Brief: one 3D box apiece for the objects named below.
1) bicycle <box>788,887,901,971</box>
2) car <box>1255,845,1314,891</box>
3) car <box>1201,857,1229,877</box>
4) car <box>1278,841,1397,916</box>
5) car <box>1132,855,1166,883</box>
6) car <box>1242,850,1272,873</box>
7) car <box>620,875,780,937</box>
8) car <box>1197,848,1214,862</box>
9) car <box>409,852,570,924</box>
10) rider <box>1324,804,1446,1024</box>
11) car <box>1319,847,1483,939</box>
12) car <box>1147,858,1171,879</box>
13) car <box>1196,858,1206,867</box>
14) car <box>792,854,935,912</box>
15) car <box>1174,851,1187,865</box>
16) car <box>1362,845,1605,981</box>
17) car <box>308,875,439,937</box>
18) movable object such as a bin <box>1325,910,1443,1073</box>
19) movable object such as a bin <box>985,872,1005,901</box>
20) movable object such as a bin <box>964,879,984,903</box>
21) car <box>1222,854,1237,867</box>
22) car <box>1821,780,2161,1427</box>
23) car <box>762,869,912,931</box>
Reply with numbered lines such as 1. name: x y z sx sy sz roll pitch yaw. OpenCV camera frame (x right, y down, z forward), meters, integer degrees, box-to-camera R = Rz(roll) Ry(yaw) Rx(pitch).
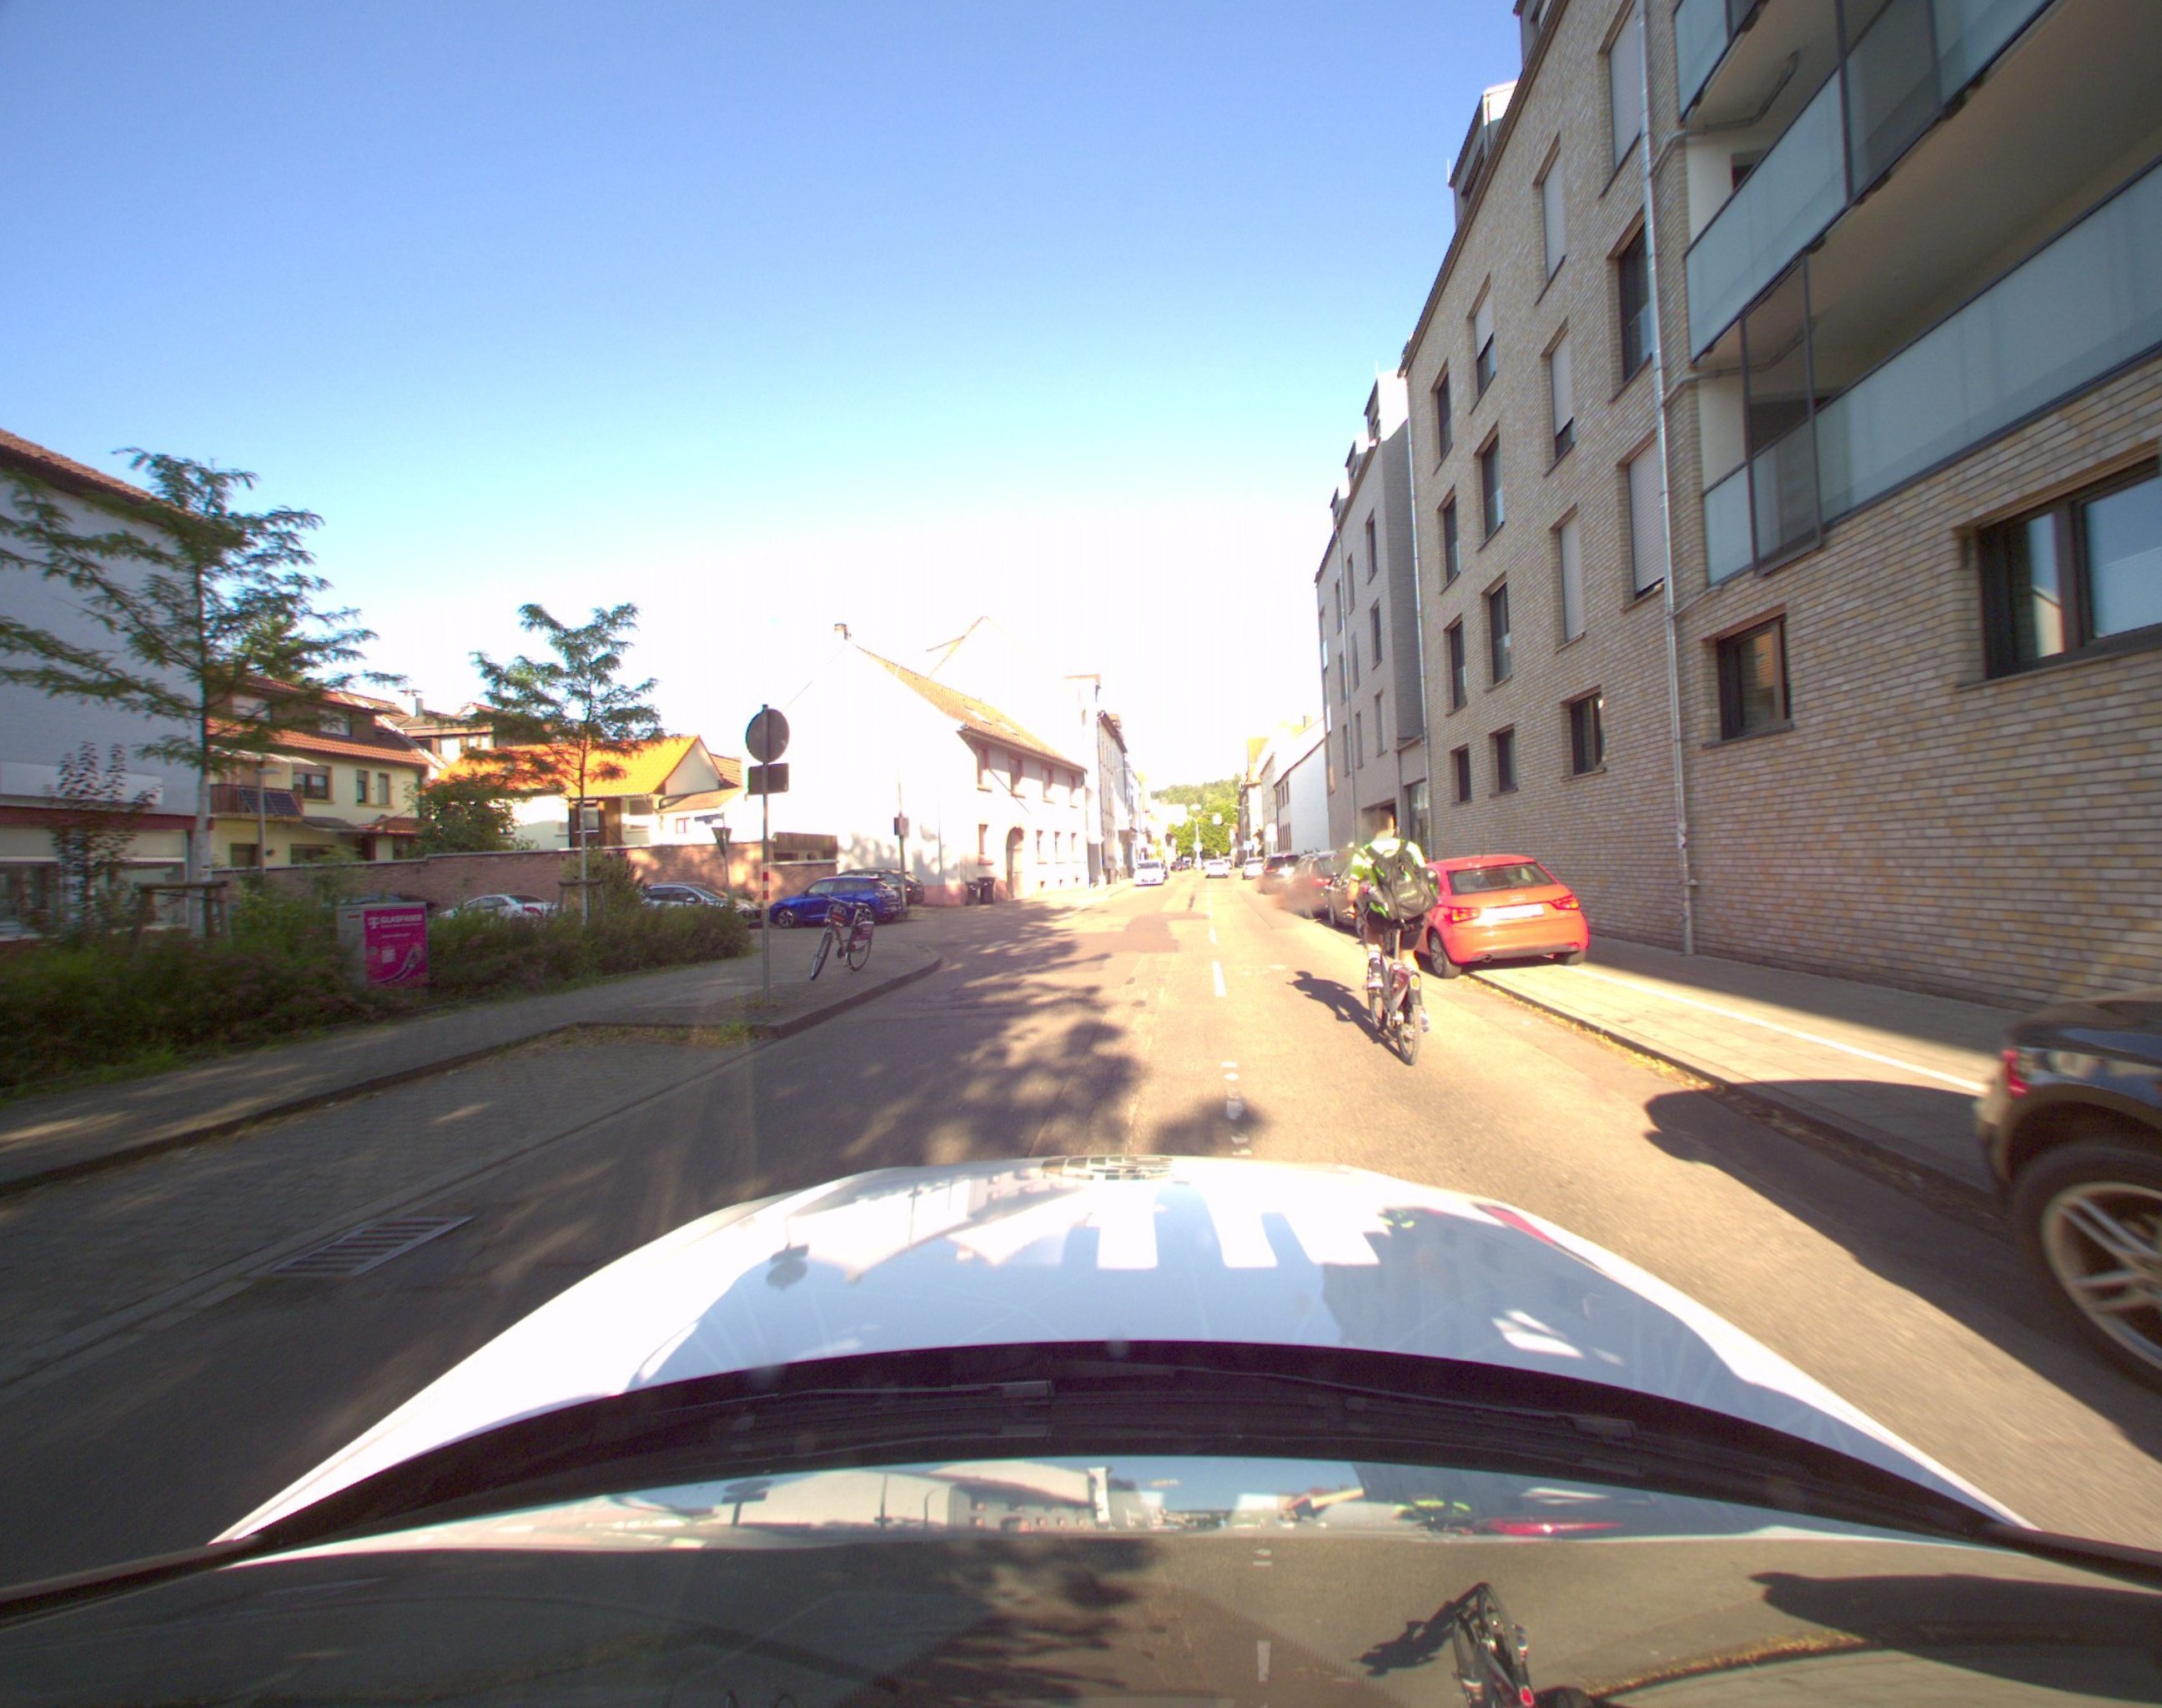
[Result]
1. bicycle: -3.300 1.018 11.573 0.699 1.003 1.947 -2 0 11
2. car: 8.452 0.537 34.146 1.844 1.636 4.634 -5 0 9
3. car: 10.653 1.020 64.912 1.983 1.466 4.007 -3 -1 6
4. car: 6.543 0.554 21.344 1.984 1.653 4.770 -3 0 6
5. car: 4.415 0.900 52.175 1.984 1.648 5.230 -2 0 6
6. car: 12.315 0.508 57.280 1.731 1.492 4.450 -4 -1 9
7. car: -11.776 1.587 25.320 3.964 1.500 2.005 -4 0 8
8. car: 18.752 0.110 122.666 1.987 2.013 4.000 -3 -1 1
9. car: -18.535 1.026 25.621 3.642 2.013 1.929 -3 0 6
10. rider: 2.333 0.435 6.366 0.650 1.562 1.085 0 -2 6
11. car: 6.154 0.669 16.232 1.983 1.505 4.376 -3 0 7
12. car: 6.599 1.189 68.605 1.721 1.499 3.968 -3 0 7
13. car: 24.838 1.789 168.619 1.799 1.701 4.197 -5 -1 5
14. car: -7.525 0.971 28.407 4.337 1.794 1.994 1 3 9
15. car: 15.657 0.607 128.385 1.983 2.013 4.008 -2 0 7
16. car: 5.303 0.685 11.367 1.703 1.404 4.082 -6 -1 7
17. car: -22.630 1.656 26.108 3.078 1.885 1.389 -1 -2 5
18. movable object such as a bin: 2.354 1.004 6.515 0.452 1.033 1.843 0 -1 6
19. movable object such as a bin: -3.336 1.247 31.641 0.595 1.094 0.753 -2 -1 8
20. movable object such as a bin: -4.068 1.393 30.886 0.595 0.872 0.607 -2 -1 6
21. car: 22.011 0.956 120.858 2.000 1.853 4.009 -1 0 7
22. car: 3.499 0.639 0.824 1.877 1.712 4.790 -3 0 12
23. car: -7.320 1.364 24.658 3.746 1.530 2.005 -4 0 8
